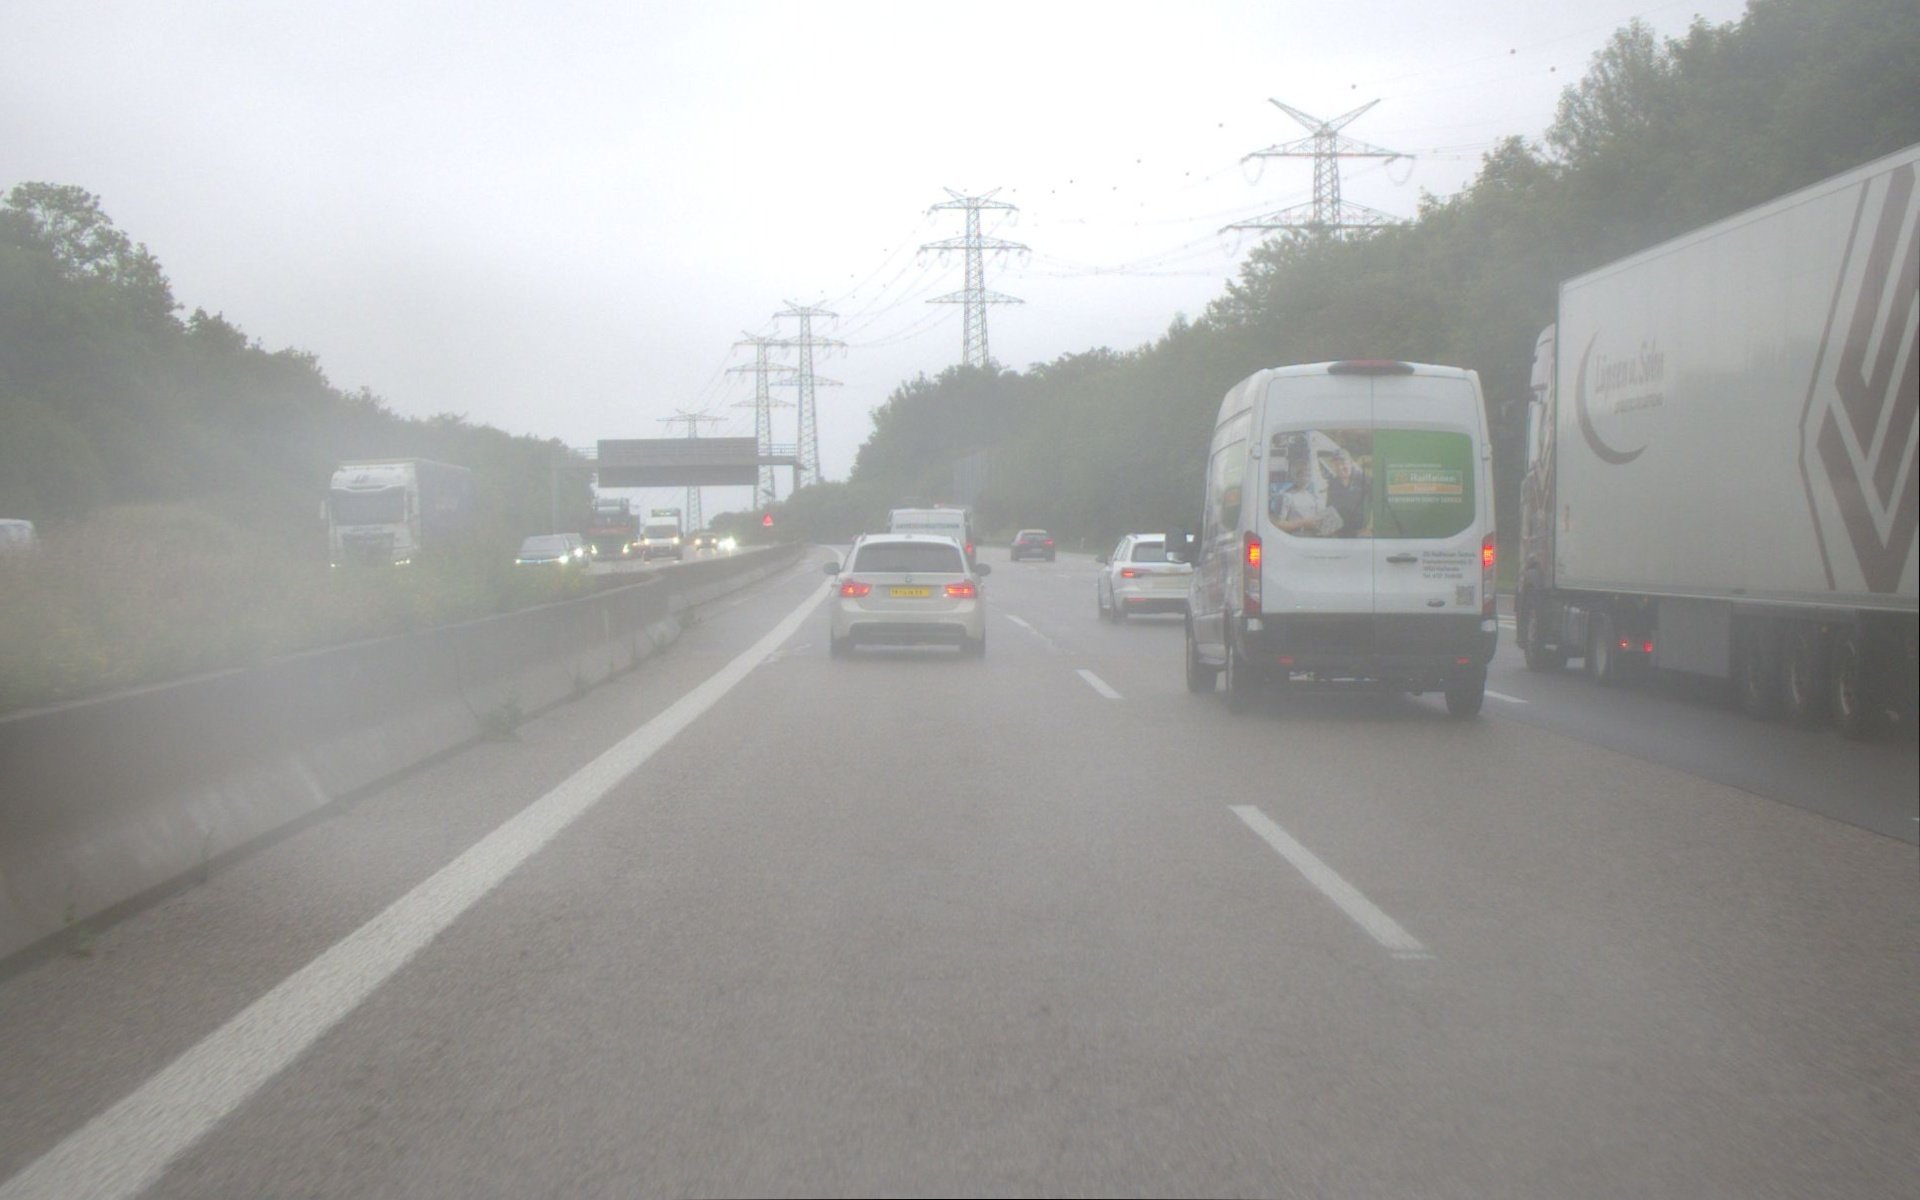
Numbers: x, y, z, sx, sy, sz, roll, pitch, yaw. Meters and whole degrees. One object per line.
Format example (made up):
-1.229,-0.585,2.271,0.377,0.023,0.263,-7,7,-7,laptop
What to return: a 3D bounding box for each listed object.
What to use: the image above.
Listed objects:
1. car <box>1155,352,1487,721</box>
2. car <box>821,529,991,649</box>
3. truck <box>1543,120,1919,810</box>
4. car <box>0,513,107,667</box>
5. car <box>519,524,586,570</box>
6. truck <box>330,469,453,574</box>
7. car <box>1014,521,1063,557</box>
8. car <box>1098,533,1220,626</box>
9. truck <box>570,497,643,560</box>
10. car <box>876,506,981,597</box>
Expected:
2.928,-0.548,28.749,1.993,2.854,4.001,-1,1,-5,car
-0.614,-0.166,39.804,1.866,1.284,4.000,0,1,-1,car
7.675,-0.916,28.090,3.603,4.317,13.200,0,1,0,truck
-11.877,-0.163,41.492,1.994,1.766,4.000,0,1,2,car
-13.329,-1.755,112.501,1.754,1.437,4.000,0,1,-1,car
-17.867,-2.495,108.574,2.703,3.157,9.804,-1,1,-3,truck
3.530,-2.718,153.625,1.994,1.481,4.000,-2,0,3,car
3.200,-0.347,54.727,1.857,1.418,4.000,0,1,4,car
-22.360,-4.543,216.759,4.057,3.735,16.871,-1,1,-7,truck
-0.604,-1.005,69.525,1.846,1.766,4.000,0,1,3,car
